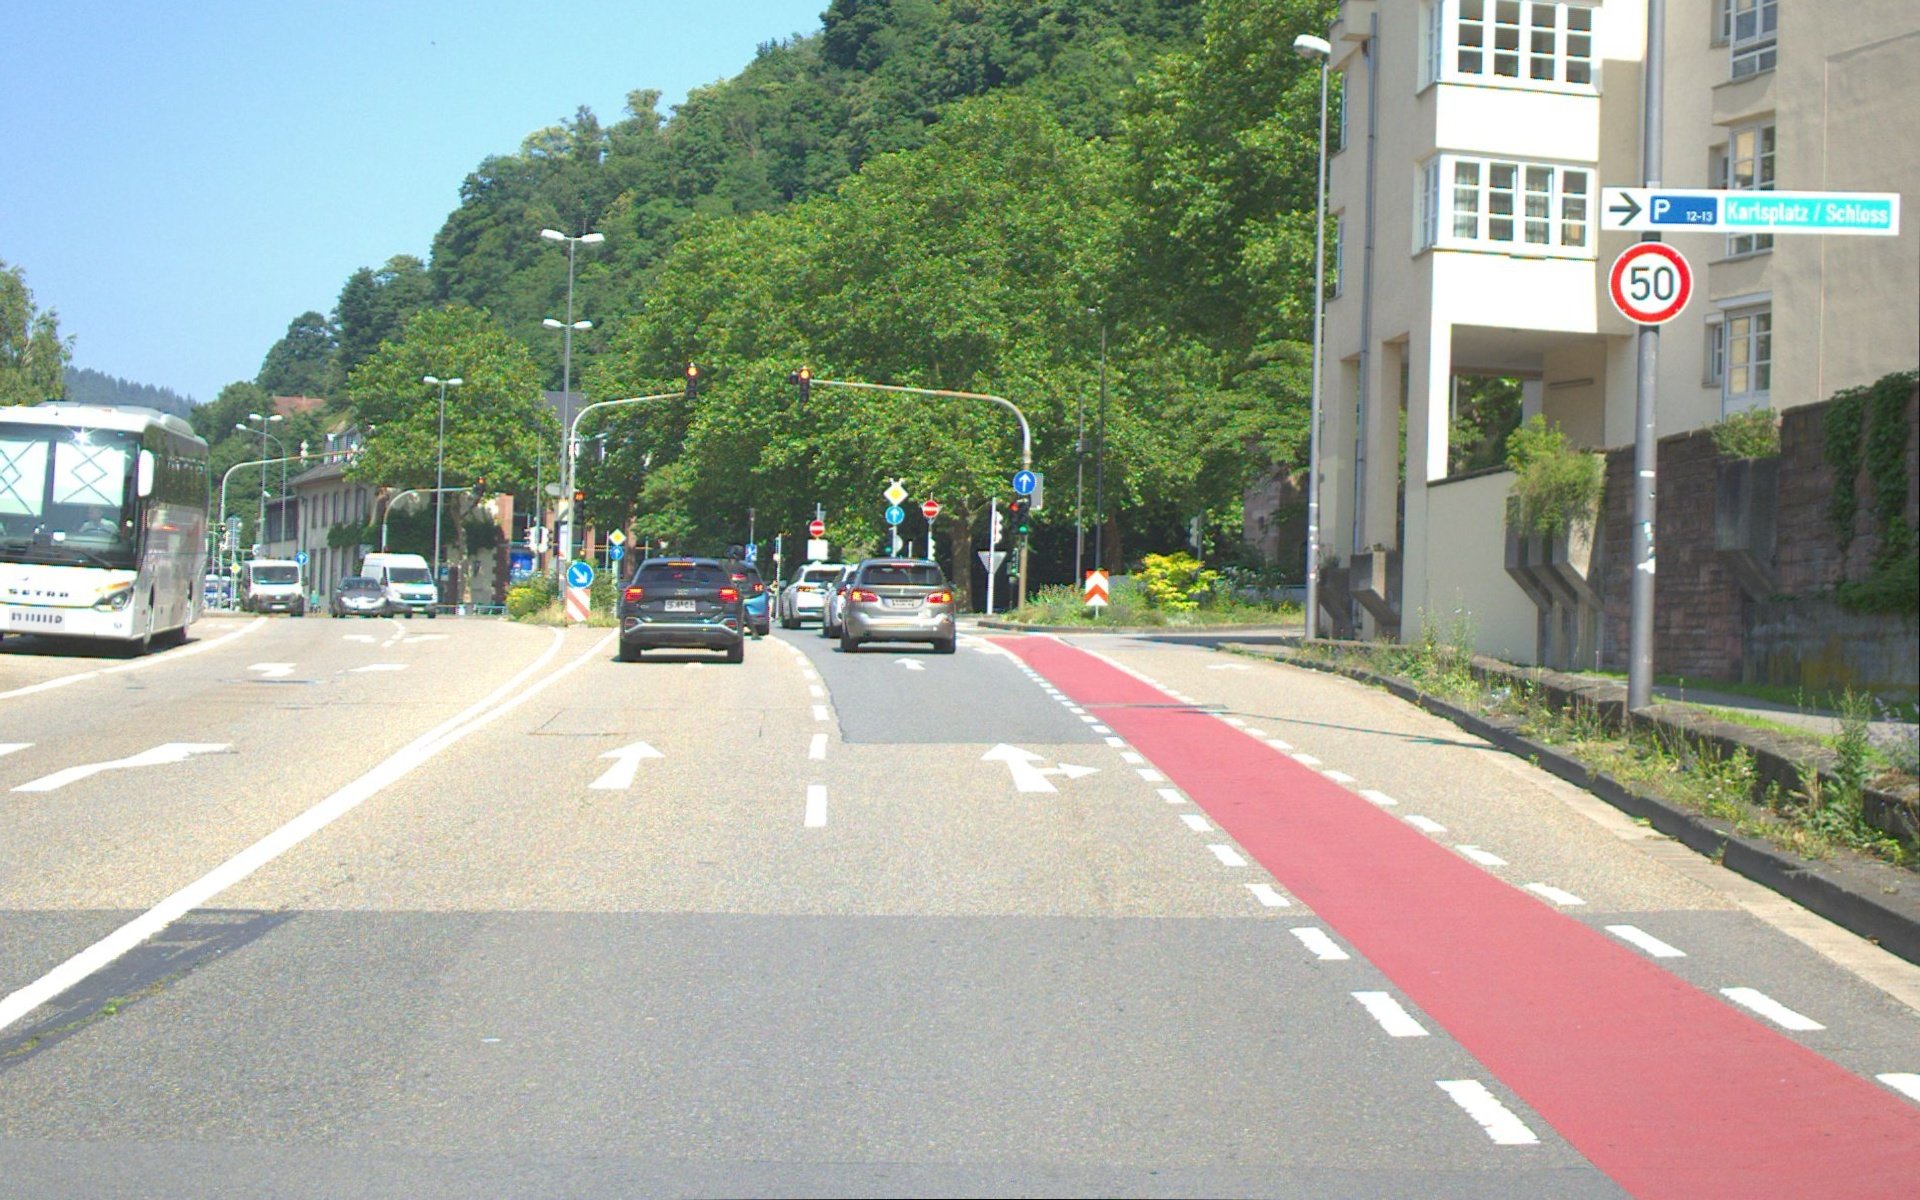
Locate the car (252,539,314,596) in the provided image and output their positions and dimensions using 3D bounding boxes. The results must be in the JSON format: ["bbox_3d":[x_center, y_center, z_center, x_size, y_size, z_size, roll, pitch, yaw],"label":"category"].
[{"bbox_3d":[-26.077,-1.266,132.474,2.213,2.071,5.045,2,1,-11],"label":"car"}]

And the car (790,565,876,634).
[{"bbox_3d":[-2.942,-0.024,79.008,1.785,1.527,4.737,0,0,-4],"label":"car"}]

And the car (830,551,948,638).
[{"bbox_3d":[-1.386,-0.118,64.698,1.993,1.528,4.859,2,0,-3],"label":"car"}]

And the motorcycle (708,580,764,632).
[{"bbox_3d":[-4.228,0.104,64.947,1.038,0.916,2.605,1,1,-4],"label":"motorcycle"}]

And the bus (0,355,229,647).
[{"bbox_3d":[-13.469,-1.482,53.280,2.956,3.787,13.247,5,0,-8],"label":"bus"}]

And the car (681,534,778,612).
[{"bbox_3d":[-4.809,-0.567,71.302,1.866,1.557,4.001,1,1,-5],"label":"car"}]

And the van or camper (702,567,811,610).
[{"bbox_3d":[-9.191,-0.519,155.480,4.544,1.895,1.999,0,1,13],"label":"van or camper"}]

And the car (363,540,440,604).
[{"bbox_3d":[-22.973,-1.161,141.265,2.383,2.568,6.057,0,1,-16],"label":"car"}]

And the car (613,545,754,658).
[{"bbox_3d":[-3.996,0.014,50.287,1.869,1.508,4.151,2,0,-3],"label":"car"}]

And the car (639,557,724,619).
[{"bbox_3d":[-6.417,-0.291,78.901,1.866,1.354,4.001,1,1,-5],"label":"car"}]

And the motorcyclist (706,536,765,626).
[{"bbox_3d":[-4.224,-0.360,64.790,1.075,1.678,1.156,1,1,-4],"label":"motorcyclist"}]

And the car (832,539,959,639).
[{"bbox_3d":[-1.099,-0.181,56.630,1.888,1.516,4.306,2,0,-3],"label":"car"}]

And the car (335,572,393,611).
[{"bbox_3d":[-23.001,-0.350,132.865,1.993,1.427,4.168,0,1,-7],"label":"car"}]
